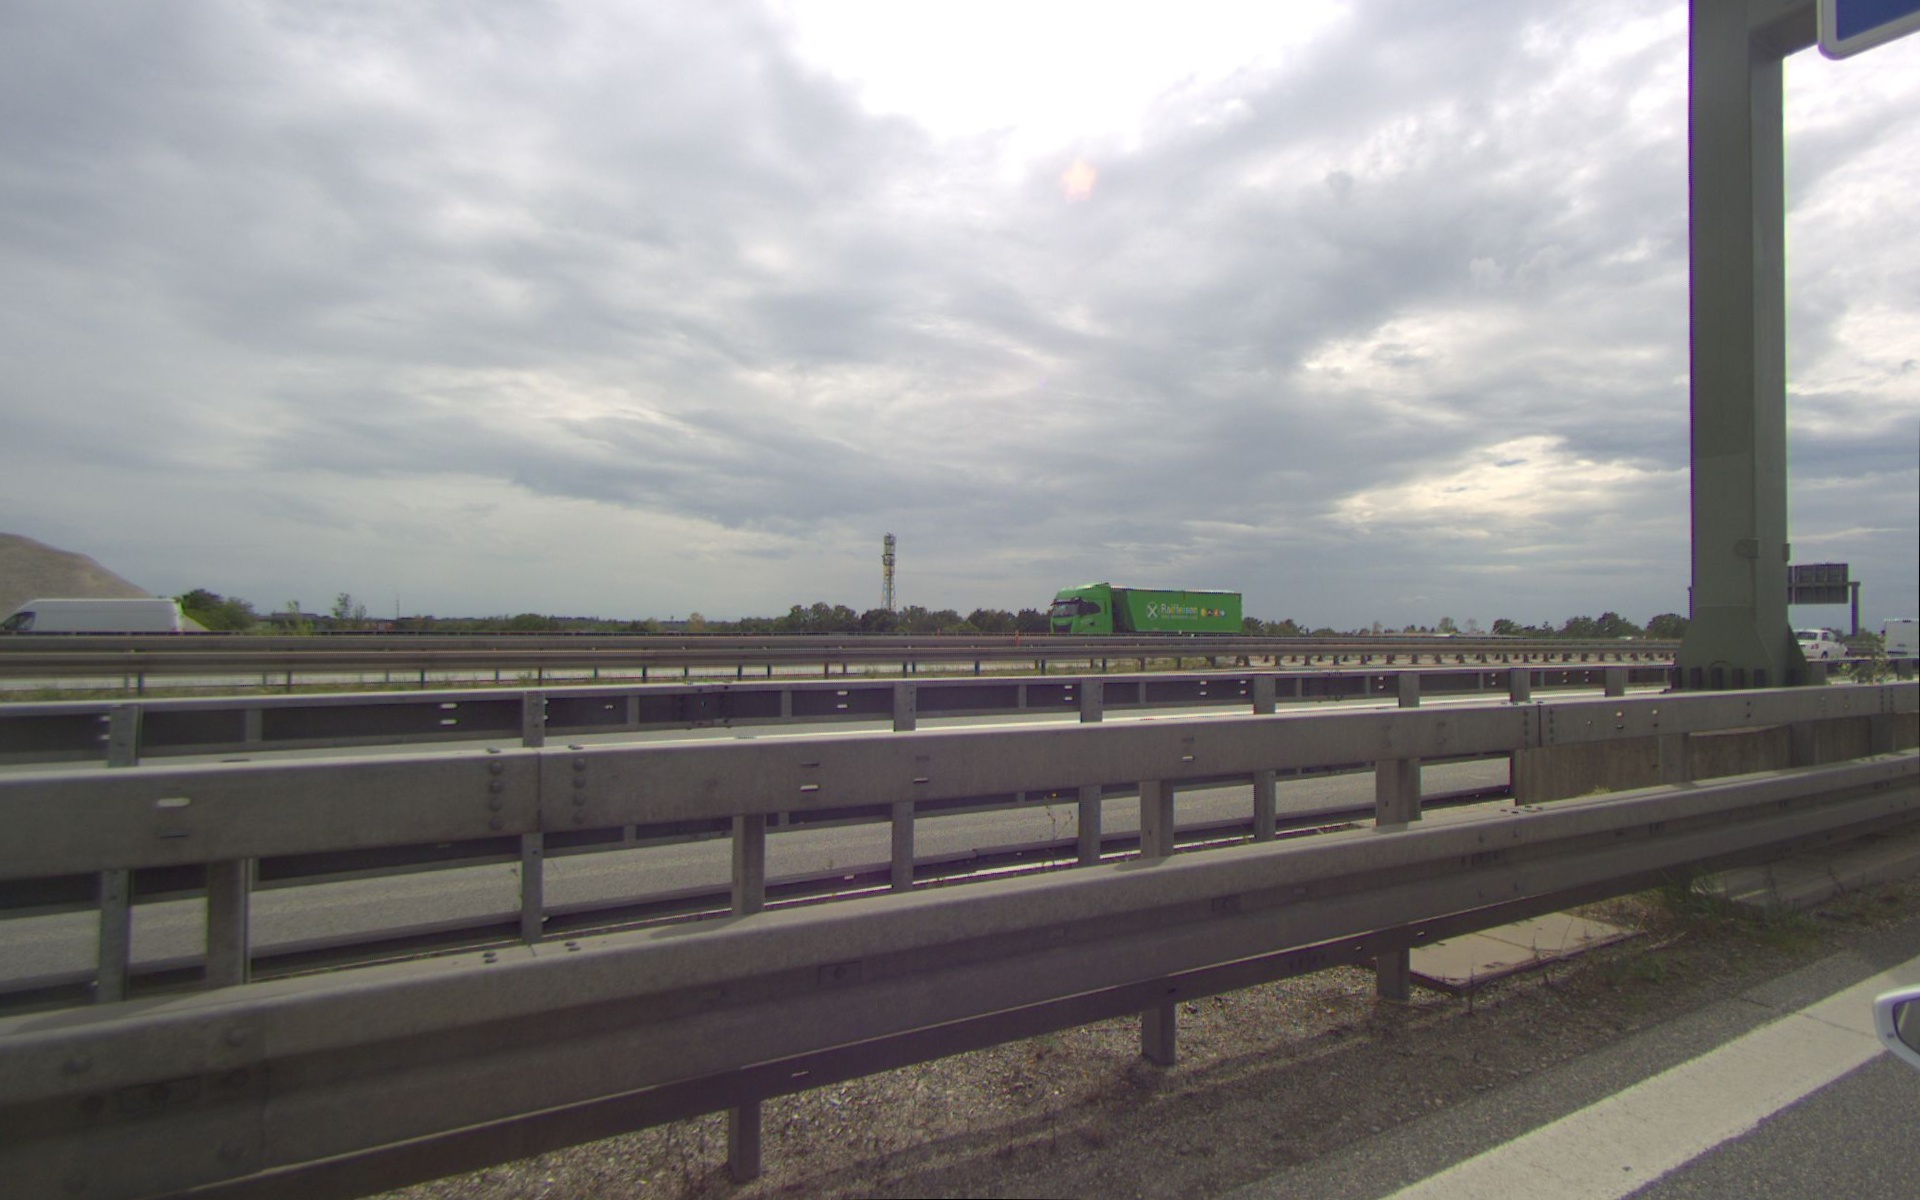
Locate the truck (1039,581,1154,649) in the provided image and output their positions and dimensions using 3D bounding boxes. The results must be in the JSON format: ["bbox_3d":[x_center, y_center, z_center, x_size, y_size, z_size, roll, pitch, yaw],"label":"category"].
[{"bbox_3d":[7.751,0.860,56.898,5.828,3.657,3.025,1,0,-32],"label":"truck"}]

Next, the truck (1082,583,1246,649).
[{"bbox_3d":[12.255,0.959,59.716,10.320,3.683,2.997,1,0,-32],"label":"truck"}]

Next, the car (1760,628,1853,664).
[{"bbox_3d":[35.911,1.926,42.594,3.952,1.439,1.789,1,0,-30],"label":"car"}]

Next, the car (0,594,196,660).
[{"bbox_3d":[-31.499,0.973,36.678,5.454,2.253,2.185,1,0,-31],"label":"car"}]

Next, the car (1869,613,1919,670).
[{"bbox_3d":[36.408,1.553,37.884,4.324,2.040,1.983,1,0,-31],"label":"car"}]
